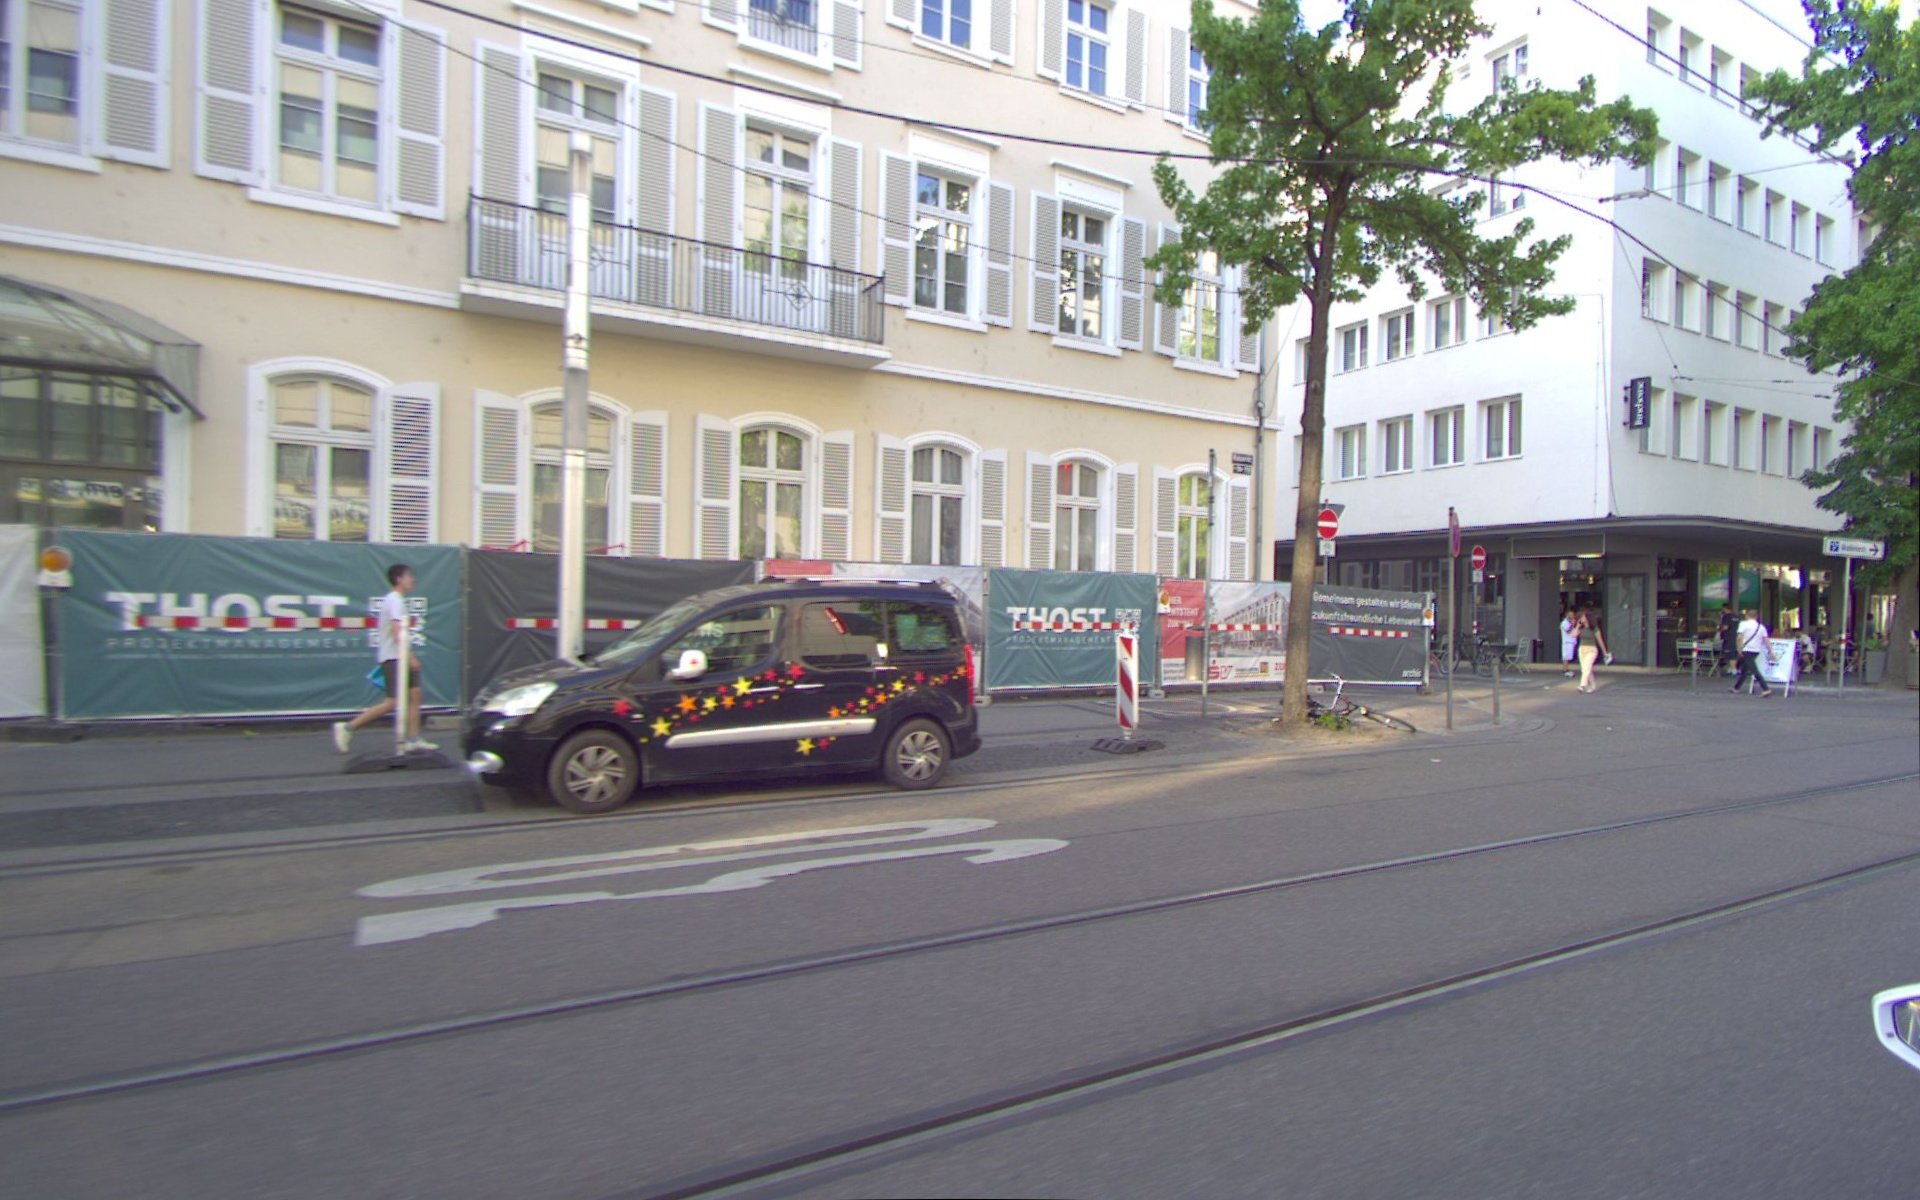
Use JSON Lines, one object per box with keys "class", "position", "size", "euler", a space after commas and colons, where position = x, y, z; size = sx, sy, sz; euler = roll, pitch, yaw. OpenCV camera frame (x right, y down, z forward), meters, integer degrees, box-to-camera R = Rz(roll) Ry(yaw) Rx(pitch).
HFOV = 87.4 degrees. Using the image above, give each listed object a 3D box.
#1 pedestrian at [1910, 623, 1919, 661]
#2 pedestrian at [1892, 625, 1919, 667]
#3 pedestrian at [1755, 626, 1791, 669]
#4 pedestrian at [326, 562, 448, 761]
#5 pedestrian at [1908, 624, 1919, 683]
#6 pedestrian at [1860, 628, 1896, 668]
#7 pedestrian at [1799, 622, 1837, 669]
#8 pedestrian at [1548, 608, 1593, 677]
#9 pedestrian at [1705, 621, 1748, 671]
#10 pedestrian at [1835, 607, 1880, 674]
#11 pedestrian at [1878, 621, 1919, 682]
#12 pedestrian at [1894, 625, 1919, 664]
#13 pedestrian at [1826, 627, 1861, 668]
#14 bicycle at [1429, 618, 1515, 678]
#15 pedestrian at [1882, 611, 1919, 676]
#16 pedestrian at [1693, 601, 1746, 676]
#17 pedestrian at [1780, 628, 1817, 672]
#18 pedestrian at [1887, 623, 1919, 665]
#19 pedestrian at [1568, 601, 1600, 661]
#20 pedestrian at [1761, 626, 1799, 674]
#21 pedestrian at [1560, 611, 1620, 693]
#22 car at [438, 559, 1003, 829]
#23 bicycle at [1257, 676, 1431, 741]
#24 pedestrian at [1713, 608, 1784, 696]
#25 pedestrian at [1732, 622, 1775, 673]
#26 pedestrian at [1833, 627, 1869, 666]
{"class": "pedestrian", "position": [32.452, 1.430, 33.521], "size": [0.934, 1.254, 0.773], "euler": [1, 3, -30]}
{"class": "pedestrian", "position": [29.593, 1.434, 31.238], "size": [0.789, 1.259, 0.666], "euler": [1, 1, -30]}
{"class": "pedestrian", "position": [22.890, 1.335, 28.280], "size": [0.678, 1.177, 0.550], "euler": [1, 1, -29]}
{"class": "pedestrian", "position": [-5.512, 0.559, 9.712], "size": [0.972, 1.816, 0.771], "euler": [1, 2, -28]}
{"class": "pedestrian", "position": [23.519, 1.299, 24.240], "size": [0.797, 1.405, 0.686], "euler": [1, 1, -29]}
{"class": "pedestrian", "position": [27.785, 1.445, 30.398], "size": [0.679, 1.190, 0.599], "euler": [1, 1, -29]}
{"class": "pedestrian", "position": [24.964, 1.325, 29.223], "size": [0.678, 1.316, 0.599], "euler": [1, 1, -29]}
{"class": "pedestrian", "position": [15.189, 1.036, 25.006], "size": [0.787, 1.636, 0.861], "euler": [1, 2, 44]}
{"class": "pedestrian", "position": [20.580, 1.227, 26.976], "size": [0.730, 1.286, 0.642], "euler": [1, 1, -29]}
{"class": "pedestrian", "position": [24.766, 1.102, 27.708], "size": [0.688, 1.780, 0.675], "euler": [1, 1, -28]}
{"class": "pedestrian", "position": [22.632, 1.226, 24.065], "size": [0.797, 1.405, 0.686], "euler": [1, 1, -29]}
{"class": "pedestrian", "position": [31.350, 1.458, 32.987], "size": [0.779, 1.248, 0.733], "euler": [1, 3, -30]}
{"class": "pedestrian", "position": [25.837, 1.381, 29.373], "size": [0.678, 1.177, 0.550], "euler": [1, 1, -29]}
{"class": "bicycle", "position": [12.908, 1.183, 25.368], "size": [0.703, 1.399, 1.867], "euler": [-2, 1, -27]}
{"class": "pedestrian", "position": [25.414, 1.171, 27.070], "size": [0.689, 1.693, 0.616], "euler": [1, 2, -30]}
{"class": "pedestrian", "position": [19.139, 0.972, 25.323], "size": [0.751, 1.840, 0.685], "euler": [1, 1, -14]}
{"class": "pedestrian", "position": [23.261, 1.371, 27.867], "size": [0.678, 1.177, 0.550], "euler": [1, 1, -29]}
{"class": "pedestrian", "position": [30.583, 1.416, 32.508], "size": [0.689, 1.327, 0.616], "euler": [1, 3, -30]}
{"class": "pedestrian", "position": [17.367, 0.856, 27.951], "size": [0.608, 1.625, 0.405], "euler": [1, 0, 4]}
{"class": "pedestrian", "position": [22.071, 1.337, 27.038], "size": [0.678, 1.252, 0.550], "euler": [1, 1, -29]}
{"class": "pedestrian", "position": [13.209, 1.064, 21.064], "size": [0.955, 1.678, 0.704], "euler": [0, 0, -28]}
{"class": "car", "position": [-2.031, 0.674, 8.808], "size": [4.502, 1.857, 1.850], "euler": [1, 0, -29]}
{"class": "bicycle", "position": [5.071, 1.412, 13.386], "size": [1.265, 0.617, 1.789], "euler": [1, 1, -26]}
{"class": "pedestrian", "position": [16.347, 1.055, 20.830], "size": [0.851, 1.764, 0.796], "euler": [0, 0, -14]}
{"class": "pedestrian", "position": [20.830, 1.244, 26.361], "size": [0.719, 1.299, 0.624], "euler": [1, 1, -29]}
{"class": "pedestrian", "position": [27.483, 1.424, 30.978], "size": [0.679, 1.174, 0.599], "euler": [1, 1, -29]}
